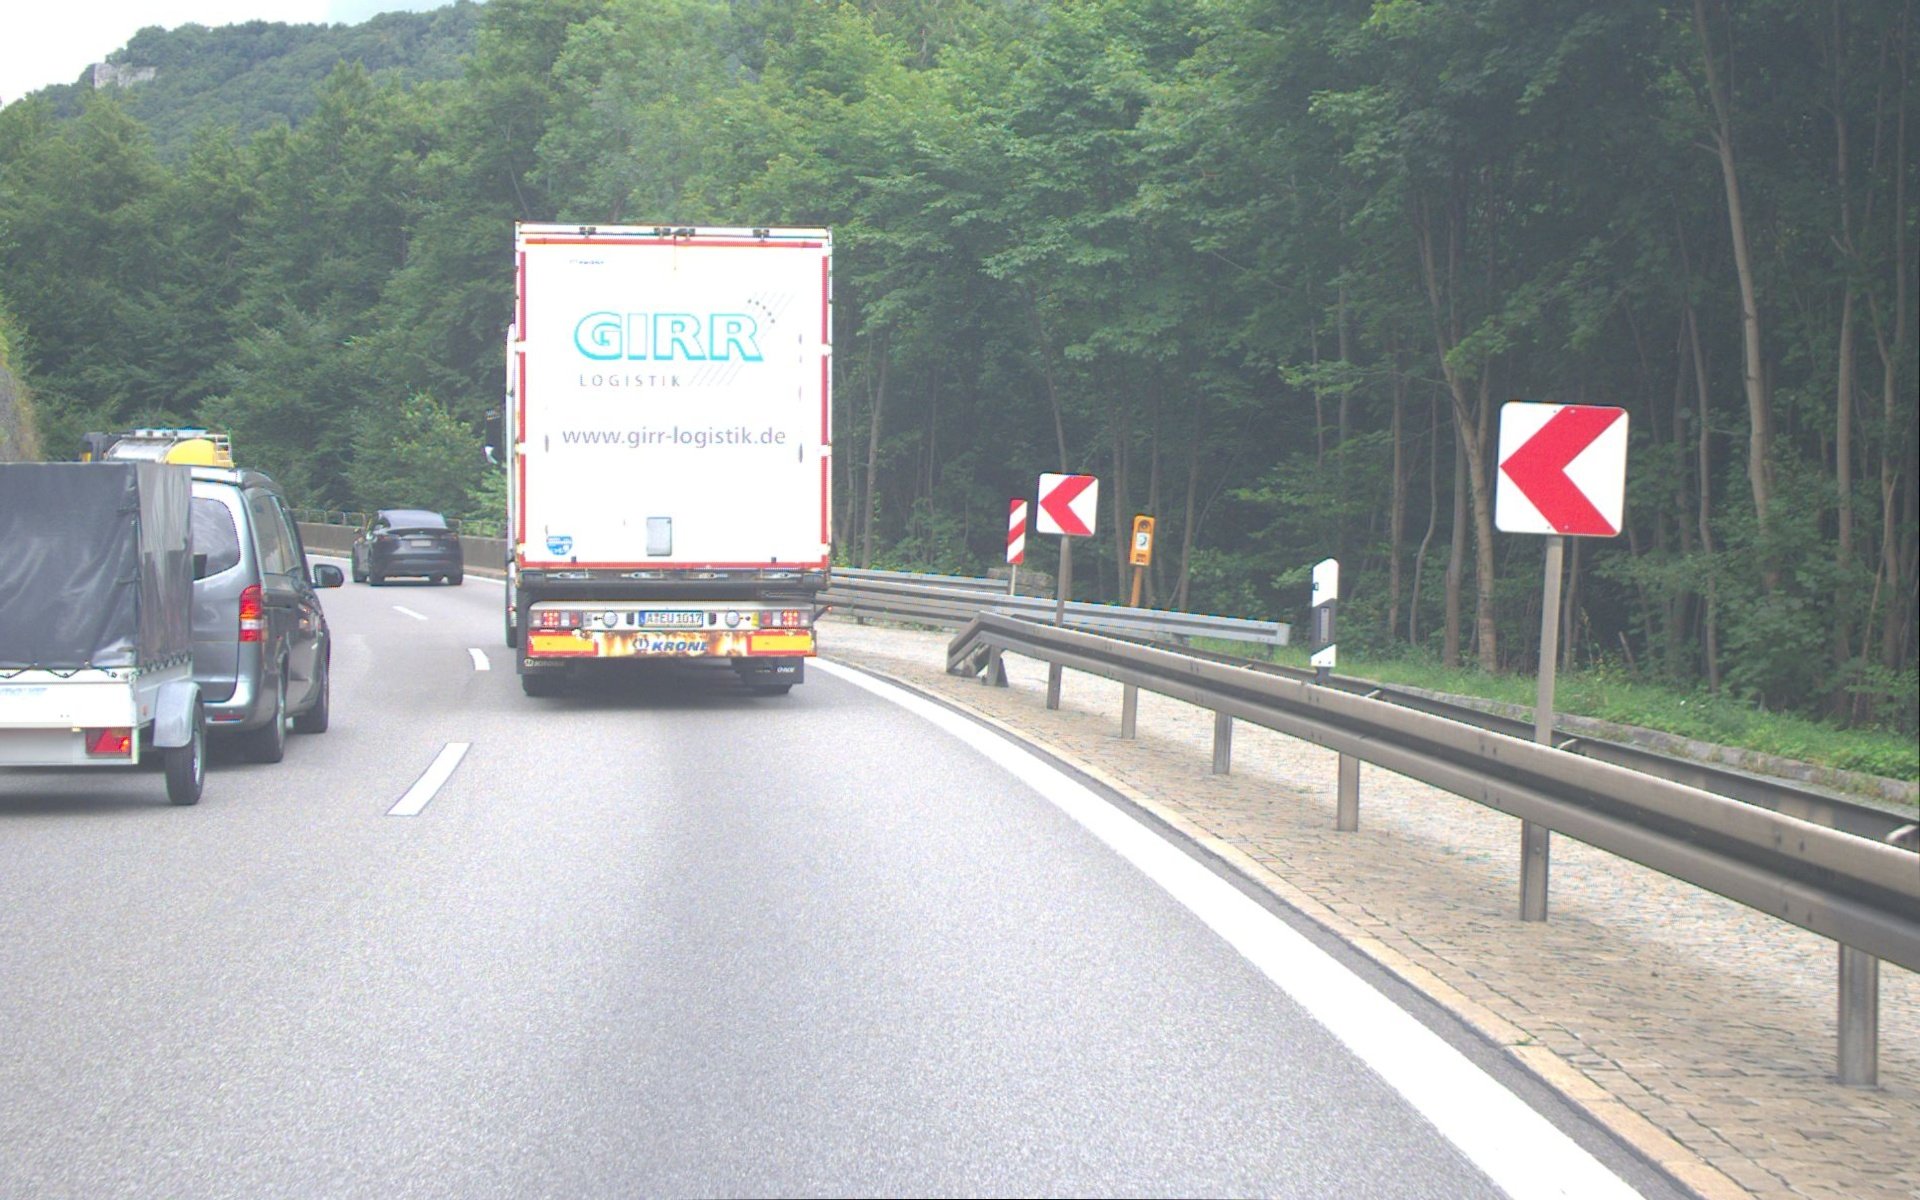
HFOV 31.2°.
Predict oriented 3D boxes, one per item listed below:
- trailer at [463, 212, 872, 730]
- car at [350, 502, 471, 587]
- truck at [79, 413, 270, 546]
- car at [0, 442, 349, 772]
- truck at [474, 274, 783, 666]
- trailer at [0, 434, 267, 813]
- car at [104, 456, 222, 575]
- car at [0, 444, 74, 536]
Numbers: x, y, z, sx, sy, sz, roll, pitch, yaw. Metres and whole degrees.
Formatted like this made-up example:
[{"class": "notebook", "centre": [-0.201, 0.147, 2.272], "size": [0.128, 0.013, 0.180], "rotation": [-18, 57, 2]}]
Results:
[{"class": "trailer", "centre": [-3.101, -1.315, 33.370], "size": [3.057, 3.972, 12.141], "rotation": [3, 3, -8]}, {"class": "car", "centre": [-11.684, -1.206, 72.918], "size": [1.993, 1.656, 4.002], "rotation": [2, 1, -16]}, {"class": "truck", "centre": [-25.272, -3.855, 109.959], "size": [3.057, 3.972, 13.701], "rotation": [-1, 2, -25]}, {"class": "car", "centre": [-5.464, -0.014, 23.698], "size": [1.993, 2.007, 5.541], "rotation": [0, 1, -5]}, {"class": "truck", "centre": [-3.945, -1.536, 39.742], "size": [3.057, 3.972, 7.189], "rotation": [3, 3, -8]}, {"class": "trailer", "centre": [-5.070, 0.083, 19.244], "size": [1.970, 1.933, 3.431], "rotation": [0, 1, -5]}, {"class": "car", "centre": [-19.182, -2.071, 82.486], "size": [1.988, 2.663, 6.939], "rotation": [2, 1, -19]}, {"class": "car", "centre": [-28.898, -3.415, 105.958], "size": [1.939, 2.663, 5.993], "rotation": [2, 1, -25]}]
